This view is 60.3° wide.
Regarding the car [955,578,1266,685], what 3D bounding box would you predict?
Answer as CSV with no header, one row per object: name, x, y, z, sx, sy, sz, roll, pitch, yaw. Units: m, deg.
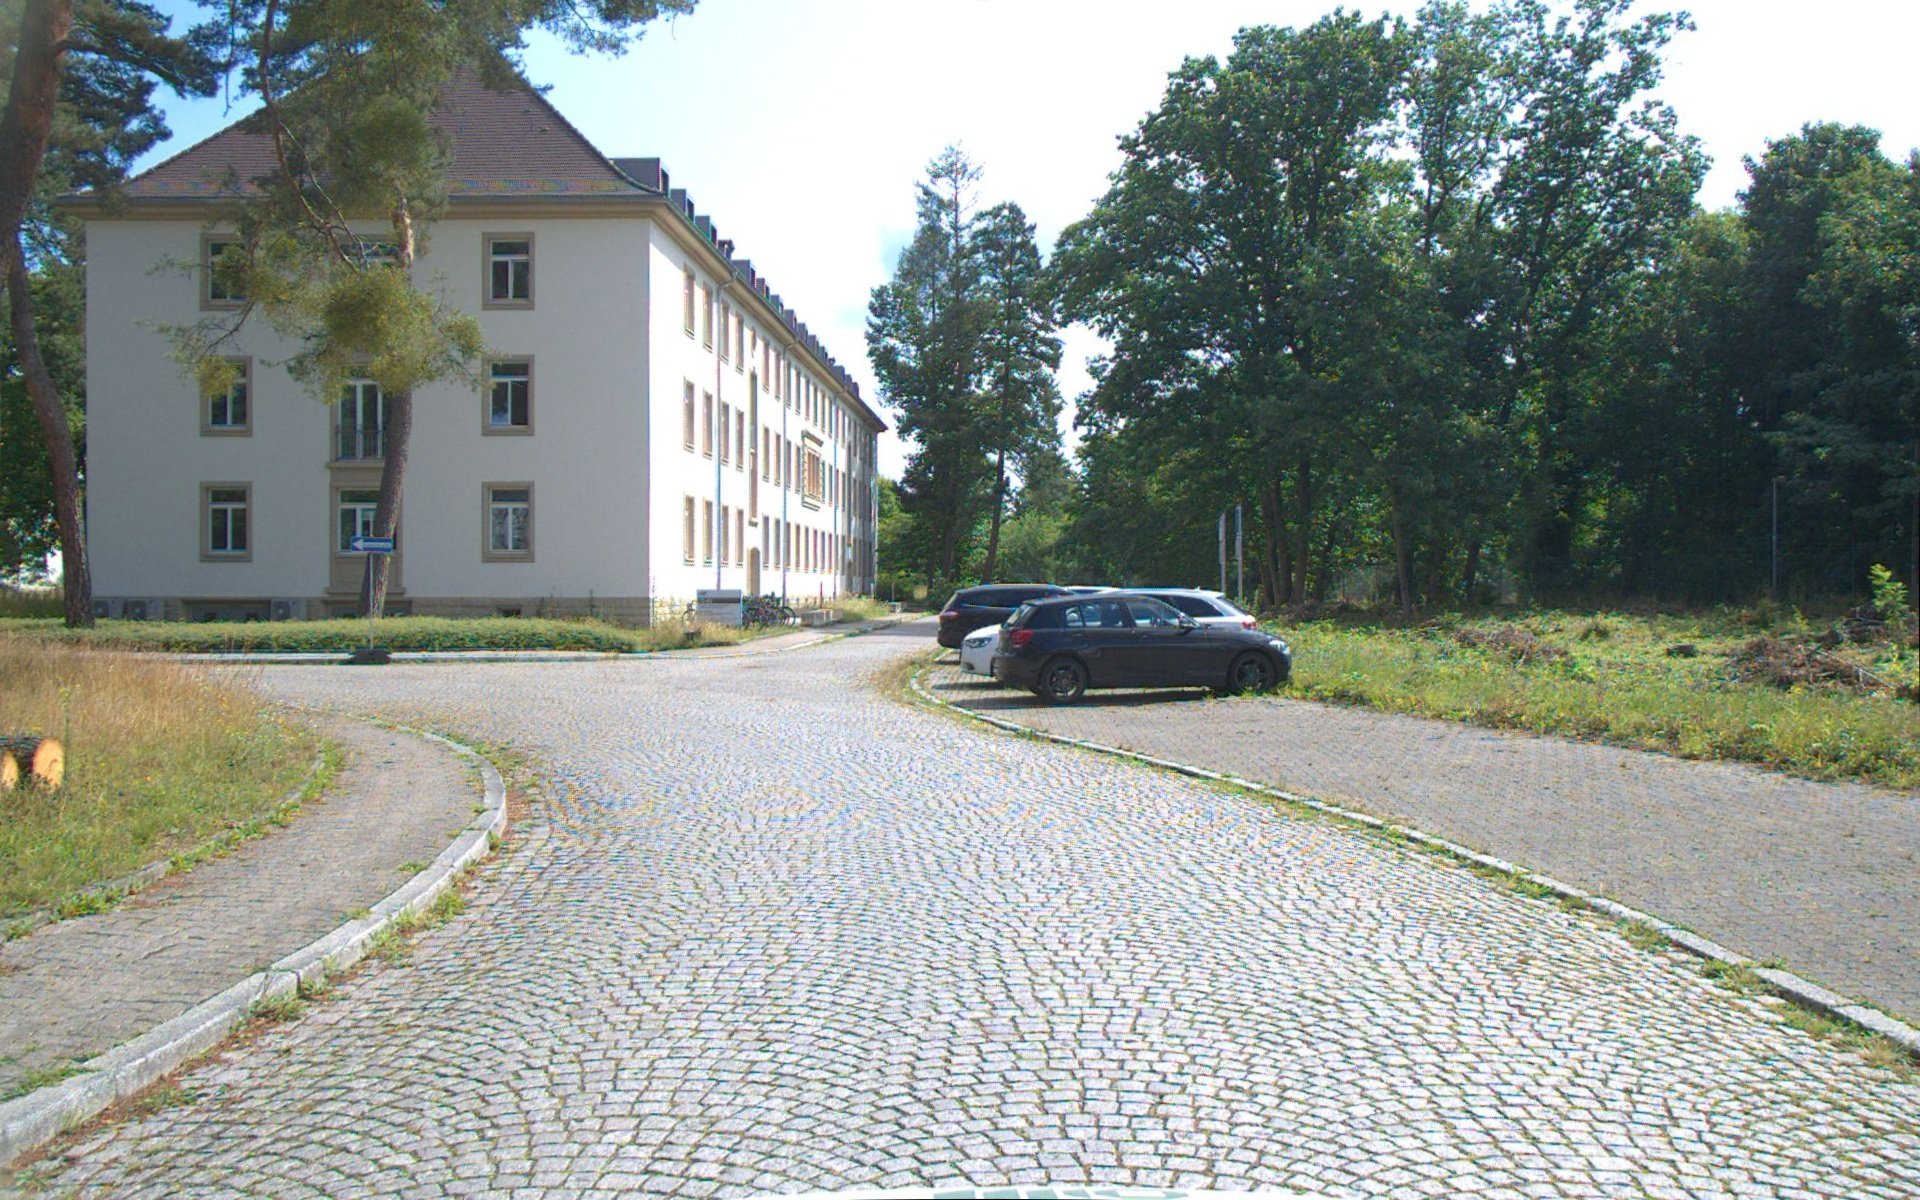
car,2.343,0.481,26.499,4.762,1.498,1.875,-2,1,1

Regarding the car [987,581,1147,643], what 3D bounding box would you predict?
car,2.832,0.317,43.903,4.119,1.510,1.821,-2,0,4

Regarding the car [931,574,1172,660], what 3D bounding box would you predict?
car,1.831,0.345,33.875,4.753,1.580,1.880,-2,0,1

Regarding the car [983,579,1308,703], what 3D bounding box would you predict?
car,2.546,0.534,23.313,4.241,1.526,1.828,-2,1,-6

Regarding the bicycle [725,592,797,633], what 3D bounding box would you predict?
bicycle,-6.272,0.387,52.153,2.175,1.282,0.623,-1,0,4

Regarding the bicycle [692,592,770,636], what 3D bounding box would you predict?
bicycle,-6.721,0.415,48.575,2.174,1.282,0.623,-1,0,8

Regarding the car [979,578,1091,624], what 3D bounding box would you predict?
car,2.834,0.046,61.996,4.099,1.570,1.821,-2,0,4

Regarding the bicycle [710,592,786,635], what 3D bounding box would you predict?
bicycle,-6.447,0.401,50.307,2.174,1.282,0.623,-1,0,8

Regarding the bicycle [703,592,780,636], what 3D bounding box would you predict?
bicycle,-6.526,0.407,49.410,2.175,1.282,0.623,-1,0,4

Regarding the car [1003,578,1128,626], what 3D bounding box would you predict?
car,3.605,0.065,56.561,4.176,1.510,1.821,-2,0,4

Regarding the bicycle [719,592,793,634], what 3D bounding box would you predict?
bicycle,-6.294,0.393,51.143,2.175,1.282,0.623,-1,0,4

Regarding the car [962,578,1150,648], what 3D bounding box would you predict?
car,2.244,0.301,39.312,4.308,1.510,1.766,-2,0,1
